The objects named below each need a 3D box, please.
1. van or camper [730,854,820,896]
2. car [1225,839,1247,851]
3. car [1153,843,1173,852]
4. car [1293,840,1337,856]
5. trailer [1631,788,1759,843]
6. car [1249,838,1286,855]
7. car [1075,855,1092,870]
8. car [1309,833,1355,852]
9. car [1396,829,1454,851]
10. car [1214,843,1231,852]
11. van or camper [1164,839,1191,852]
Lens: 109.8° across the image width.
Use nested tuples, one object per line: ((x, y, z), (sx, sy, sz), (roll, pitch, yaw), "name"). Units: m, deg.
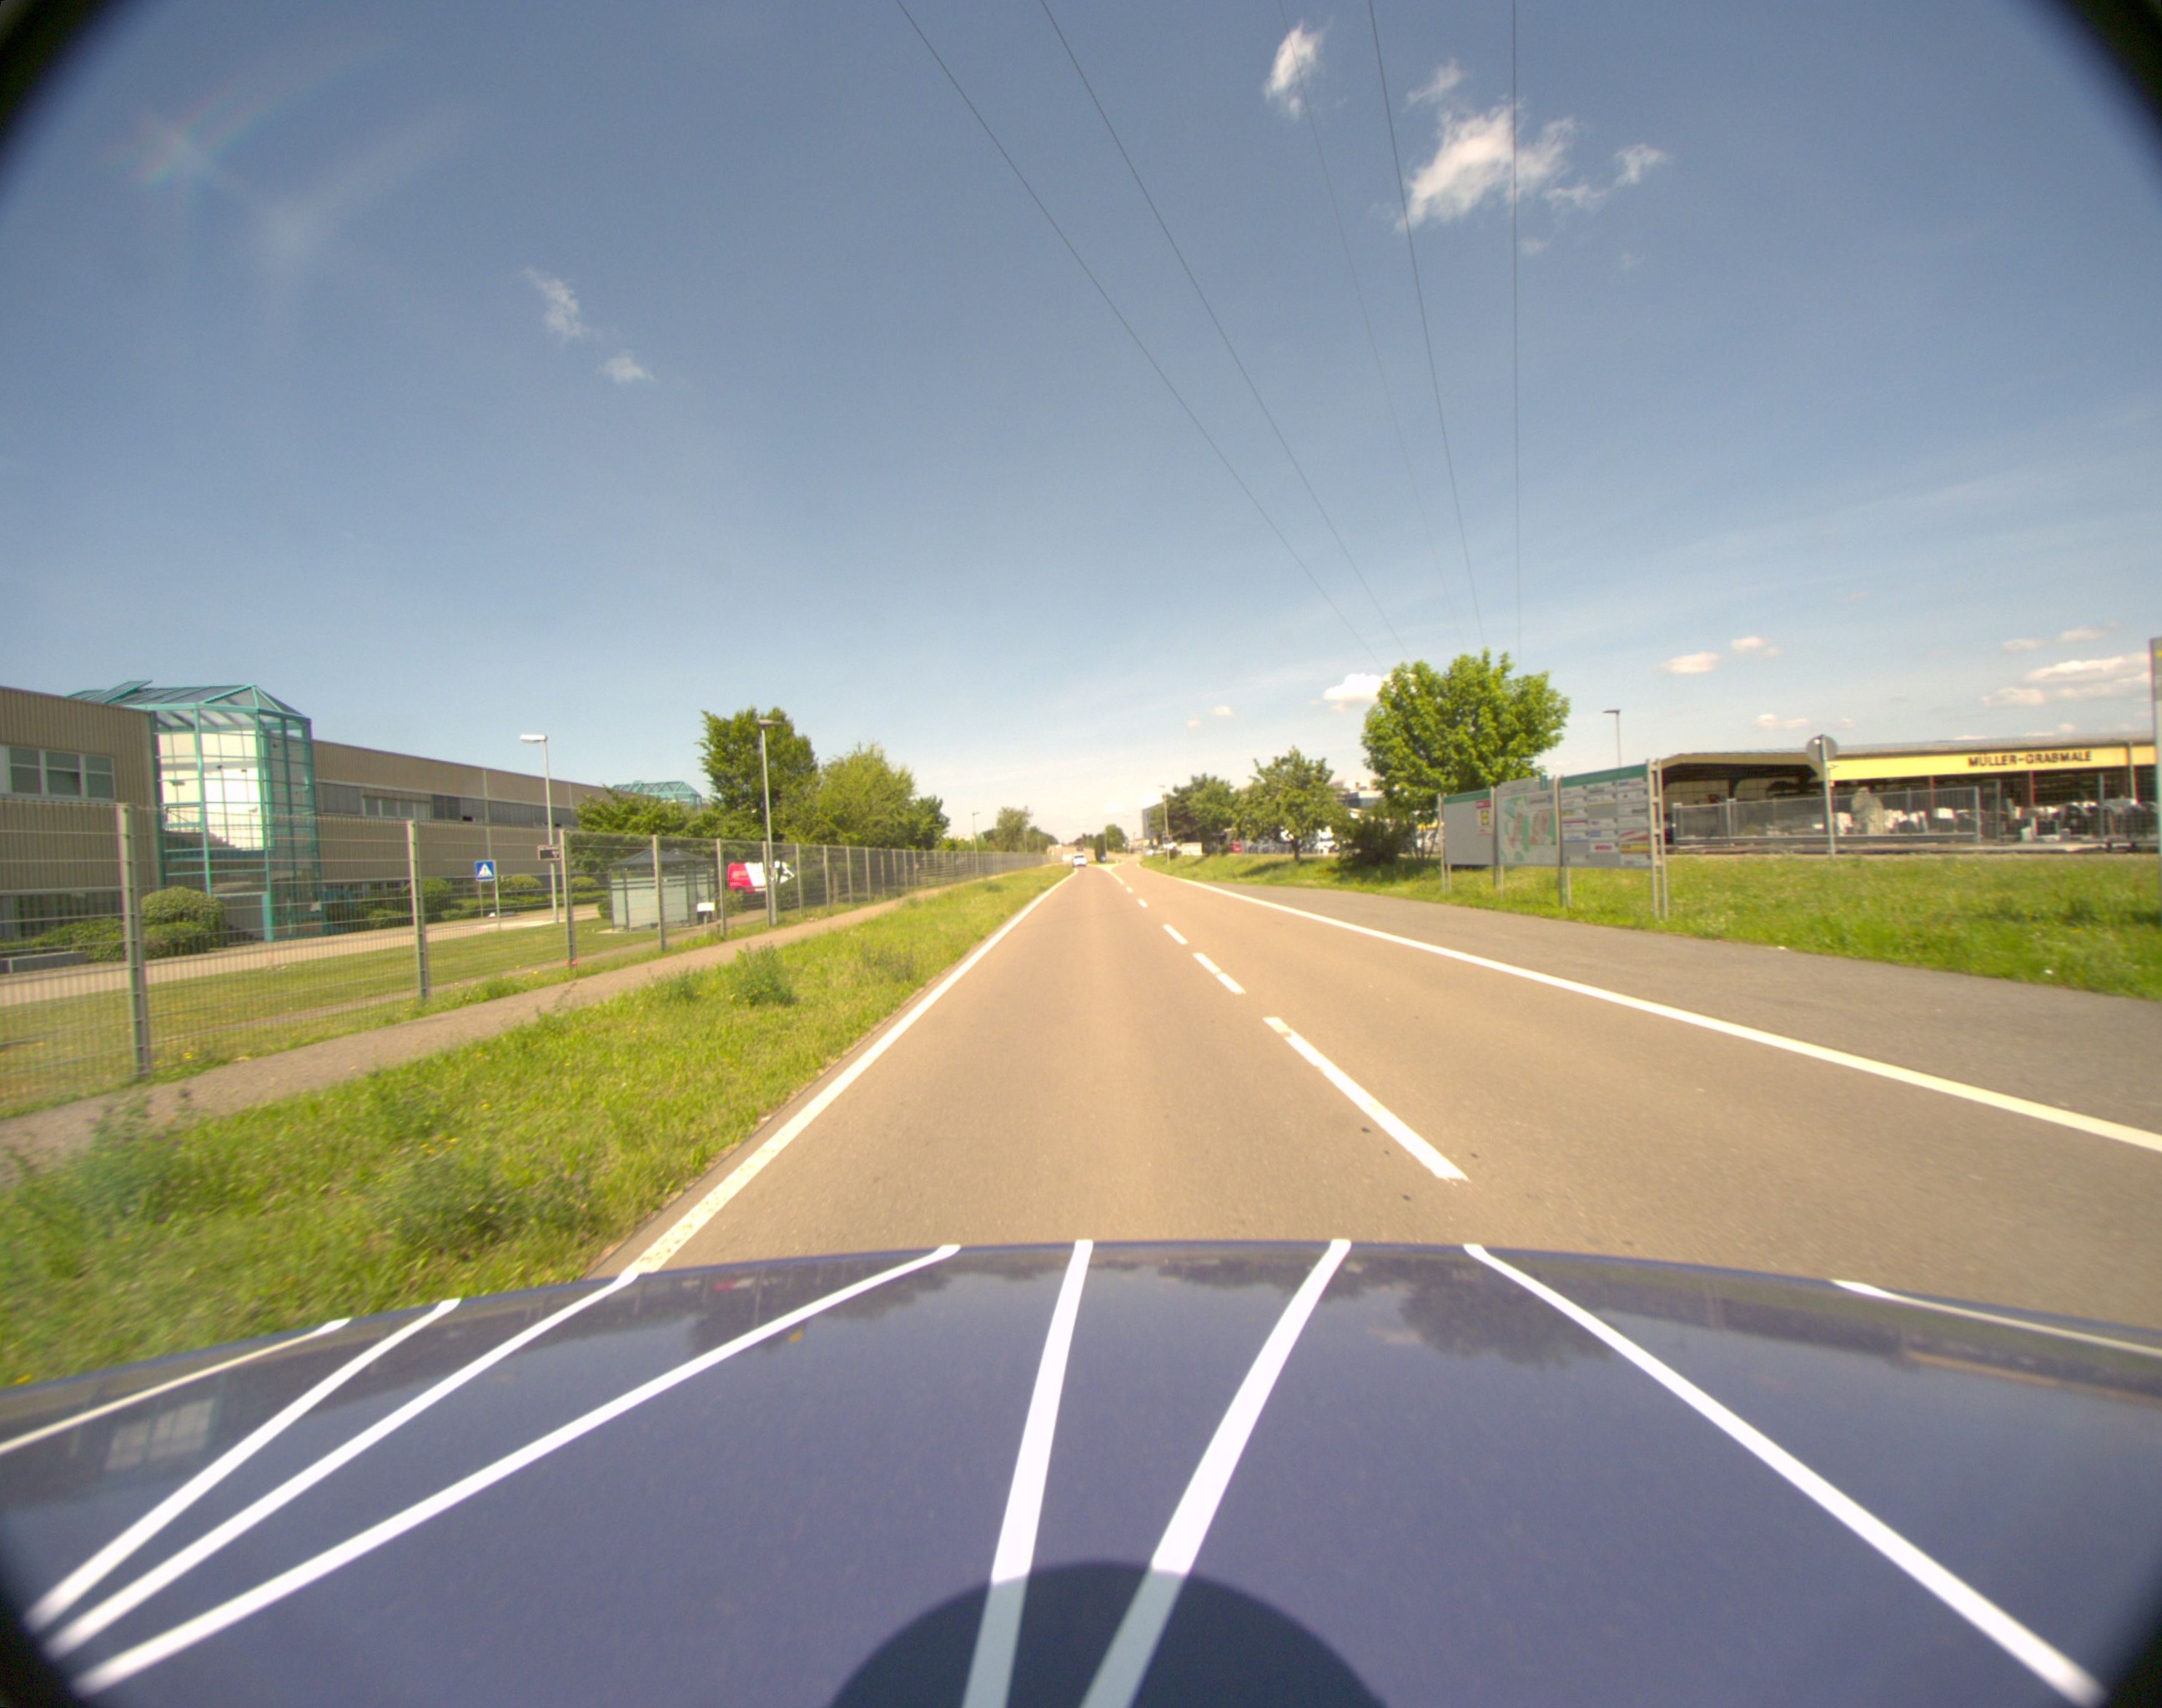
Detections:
((-23.296, 1.550, 57.944), (5.788, 2.504, 1.999), (-6, 1, -6), "van or camper")
((23.758, -1.394, 116.634), (1.999, 1.734, 4.227), (-3, 1, -5), "car")
((17.156, -1.365, 159.899), (3.996, 1.510, 2.000), (-3, 1, 3), "car")
((23.059, -0.558, 74.858), (4.005, 1.302, 1.938), (-4, 1, -31), "car")
((36.562, -2.255, 45.361), (5.579, 2.809, 2.739), (-4, 1, -6), "trailer")
((21.578, -0.872, 87.699), (4.115, 1.695, 1.719), (-4, 1, -32), "car")
((0.350, 1.181, 105.566), (1.998, 1.904, 4.000), (-3, 1, 4), "car")
((23.640, -1.063, 71.540), (4.006, 1.531, 1.938), (-4, 1, -32), "car")
((25.074, -1.035, 55.402), (4.006, 1.302, 1.938), (-4, 1, -32), "car")
((24.165, -1.142, 130.125), (1.999, 1.400, 4.515), (-4, 0, -1), "car")
((21.821, -1.894, 171.123), (5.576, 2.483, 2.081), (-3, 2, 24), "van or camper")
